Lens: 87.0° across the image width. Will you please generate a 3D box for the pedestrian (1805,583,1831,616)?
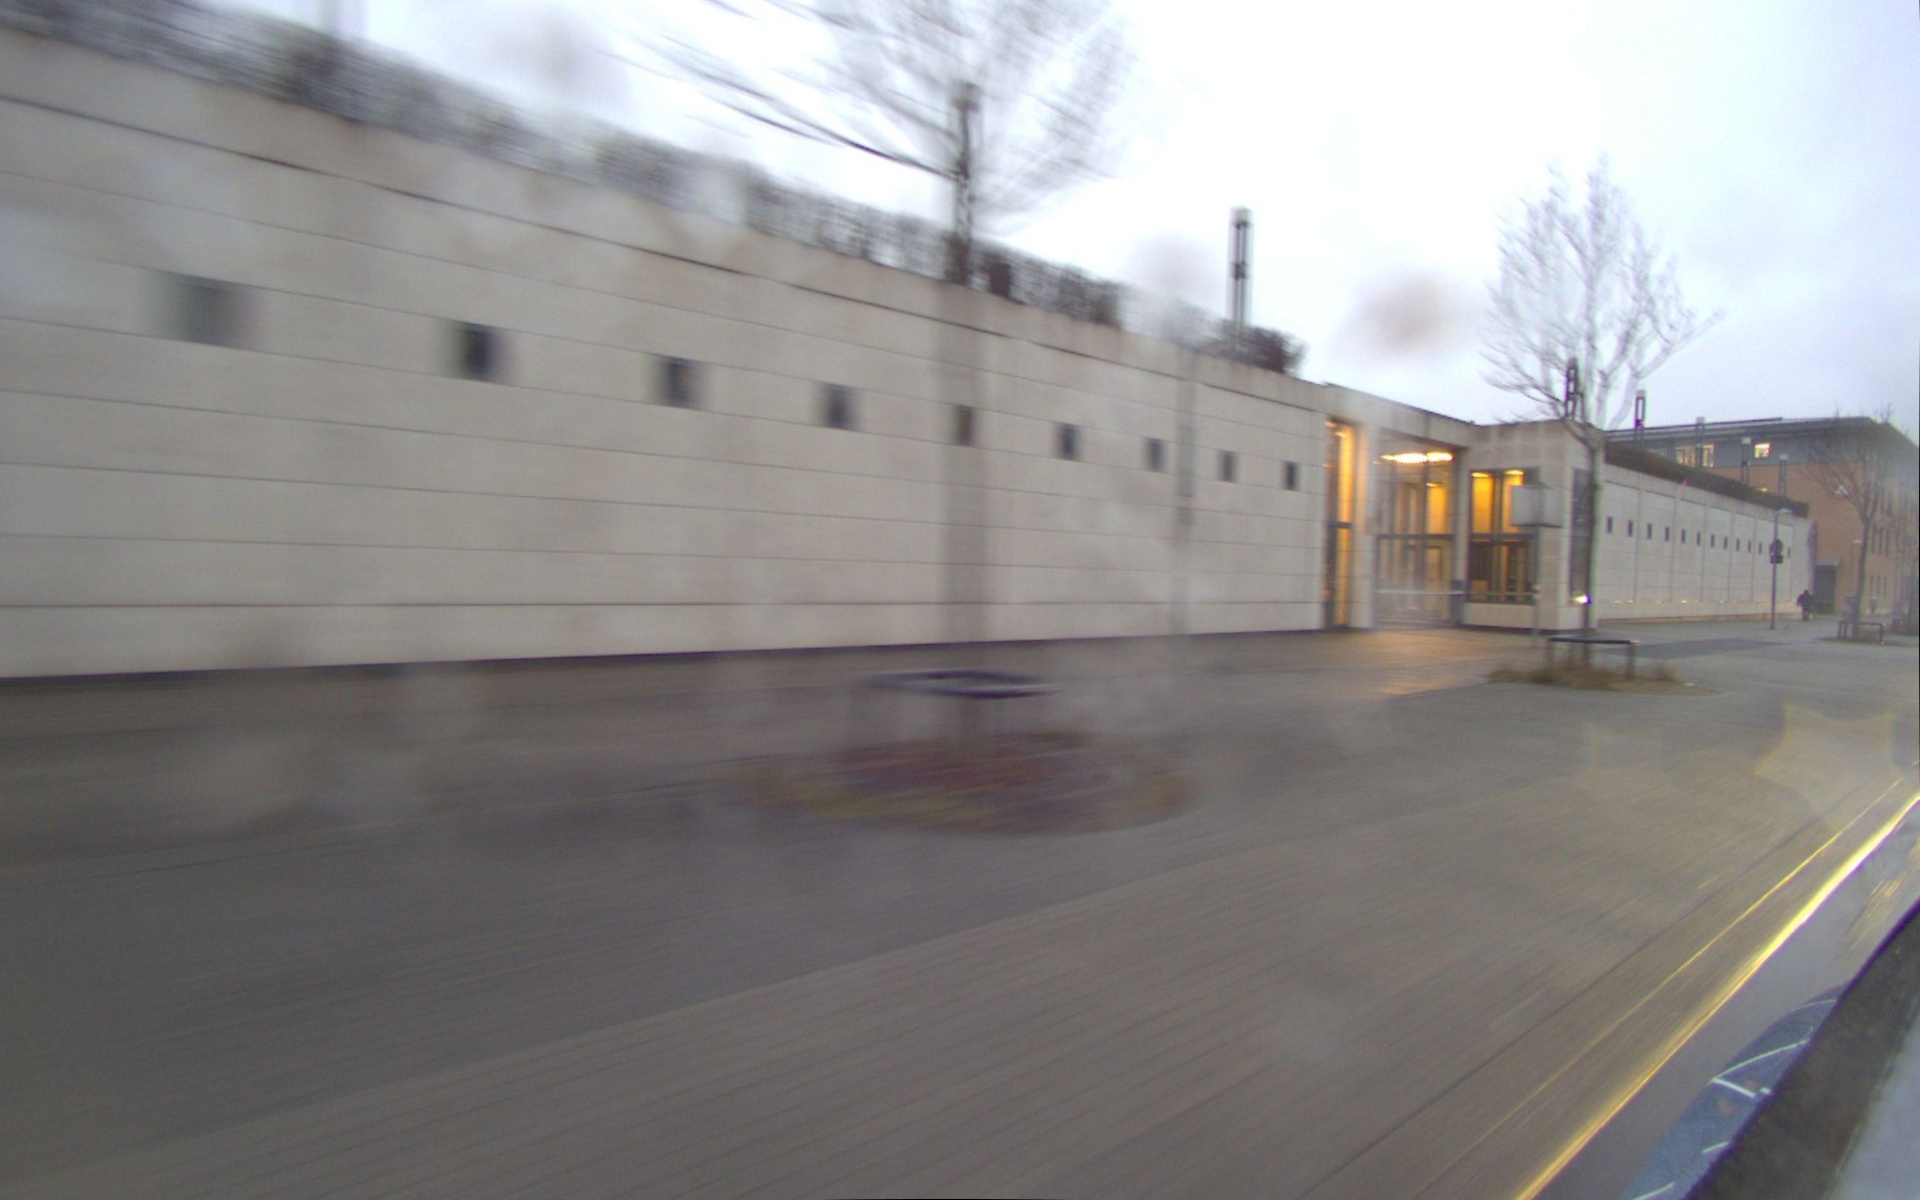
[{"bbox_3d":[44.717,-0.026,52.737,0.868,1.650,0.814,0,4,-41],"label":"pedestrian"}]
